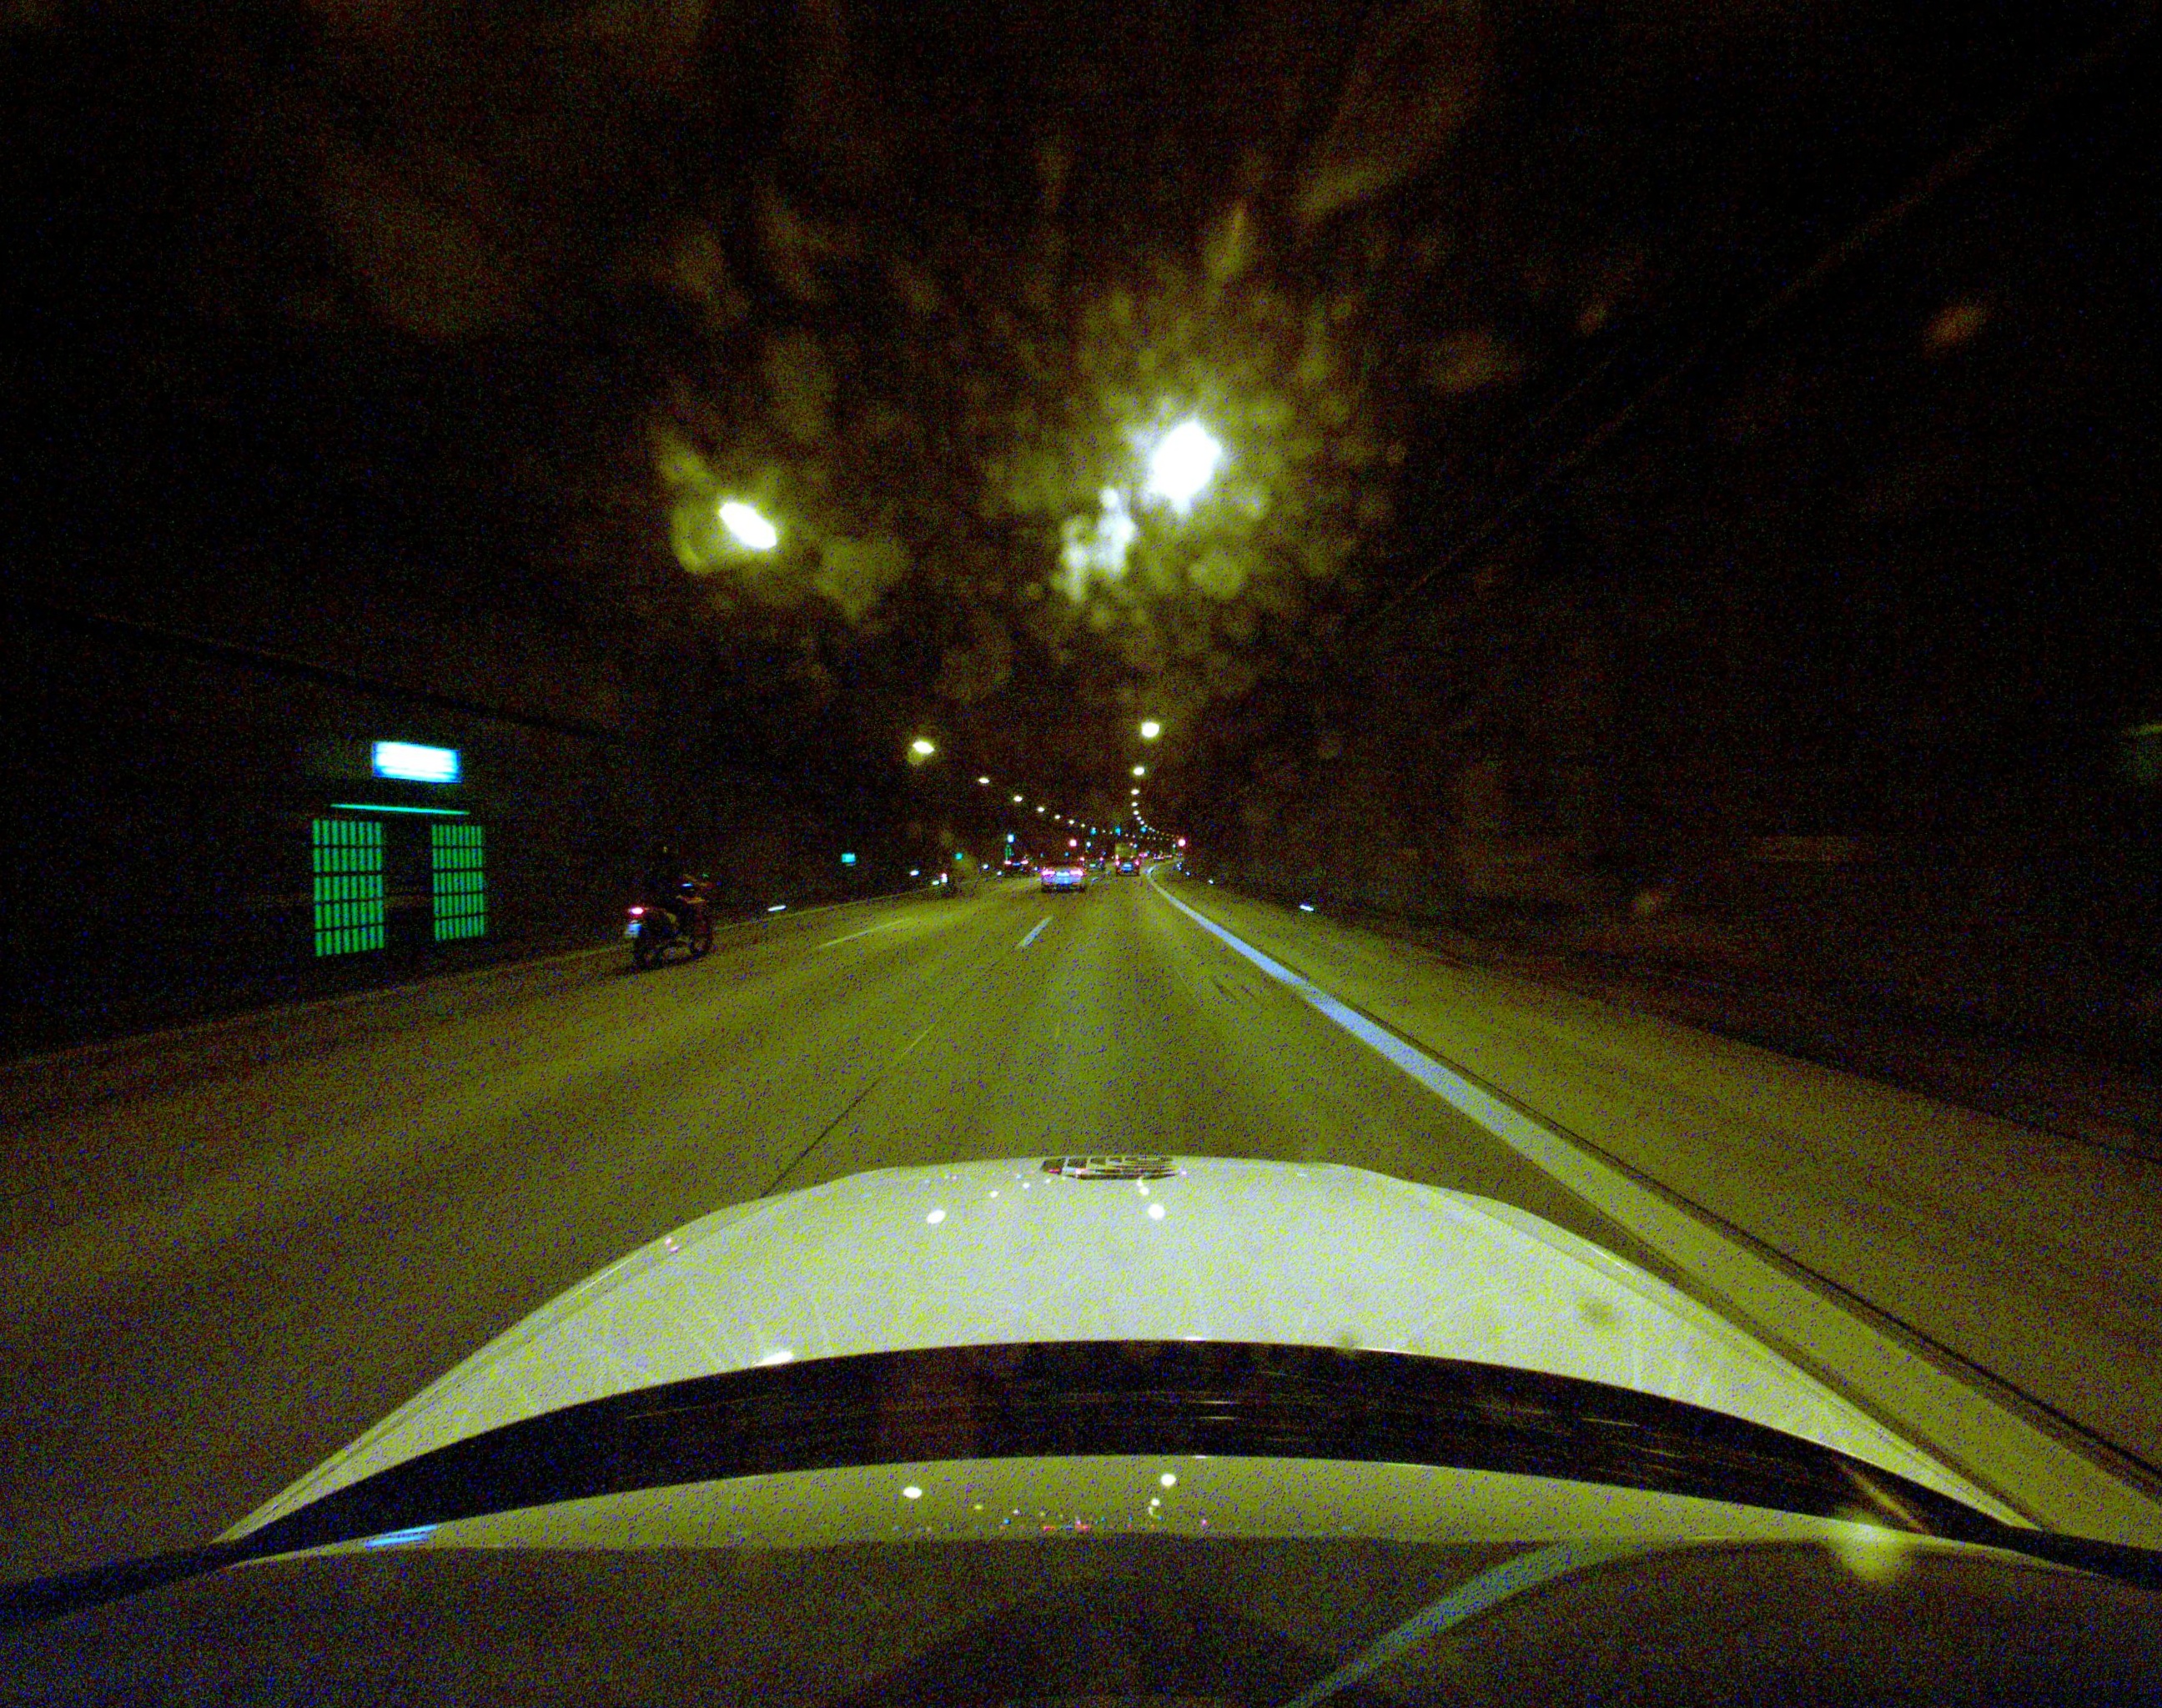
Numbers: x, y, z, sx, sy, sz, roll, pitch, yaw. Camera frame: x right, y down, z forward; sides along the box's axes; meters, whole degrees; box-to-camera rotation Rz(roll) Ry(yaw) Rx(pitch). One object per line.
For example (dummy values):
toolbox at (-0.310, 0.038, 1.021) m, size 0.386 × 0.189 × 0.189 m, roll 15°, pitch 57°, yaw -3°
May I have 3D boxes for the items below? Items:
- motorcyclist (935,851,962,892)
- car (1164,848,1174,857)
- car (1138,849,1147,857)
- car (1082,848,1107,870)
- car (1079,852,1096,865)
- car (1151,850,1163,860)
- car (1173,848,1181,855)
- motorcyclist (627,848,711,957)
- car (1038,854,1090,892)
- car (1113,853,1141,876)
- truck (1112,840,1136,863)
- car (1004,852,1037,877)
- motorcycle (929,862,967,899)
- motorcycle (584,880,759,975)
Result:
motorcyclist at (-4.874, 0.647, 30.051) m, size 0.836 × 1.477 × 0.822 m, roll 0°, pitch 0°, yaw 1°
car at (17.521, -0.301, 162.906) m, size 1.849 × 1.666 × 4.007 m, roll -3°, pitch 0°, yaw 6°
car at (13.658, -0.182, 180.229) m, size 1.821 × 1.618 × 4.007 m, roll -3°, pitch 0°, yaw 6°
car at (1.301, 0.435, 75.210) m, size 1.984 × 1.972 × 4.006 m, roll -1°, pitch 0°, yaw 6°
car at (0.867, 0.536, 108.277) m, size 1.791 × 1.684 × 4.008 m, roll 0°, pitch 0°, yaw 7°
car at (12.563, 0.193, 134.493) m, size 1.836 × 1.568 × 4.004 m, roll -3°, pitch 0°, yaw 4°
car at (25.300, -0.691, 213.963) m, size 1.825 × 1.691 × 4.004 m, roll -3°, pitch 0°, yaw 4°
motorcyclist at (-5.928, 0.677, 11.758) m, size 0.623 × 1.489 × 0.893 m, roll -2°, pitch 0°, yaw 8°
car at (-0.670, 0.771, 34.739) m, size 1.986 × 1.483 × 4.001 m, roll -2°, pitch 0°, yaw 1°
car at (3.428, 0.752, 61.323) m, size 1.834 × 1.602 × 4.000 m, roll -2°, pitch 0°, yaw 0°
truck at (6.475, -0.495, 122.543) m, size 3.068 × 3.112 × 10.043 m, roll -4°, pitch 1°, yaw 5°
car at (-4.221, 0.713, 57.032) m, size 1.778 × 1.598 × 3.804 m, roll -2°, pitch 0°, yaw 3°
motorcycle at (-4.869, 0.952, 30.016) m, size 0.842 × 1.246 × 2.605 m, roll -1°, pitch 0°, yaw 2°
motorcycle at (-5.878, 1.010, 11.926) m, size 1.047 × 1.157 × 2.433 m, roll -1°, pitch 0°, yaw 8°
